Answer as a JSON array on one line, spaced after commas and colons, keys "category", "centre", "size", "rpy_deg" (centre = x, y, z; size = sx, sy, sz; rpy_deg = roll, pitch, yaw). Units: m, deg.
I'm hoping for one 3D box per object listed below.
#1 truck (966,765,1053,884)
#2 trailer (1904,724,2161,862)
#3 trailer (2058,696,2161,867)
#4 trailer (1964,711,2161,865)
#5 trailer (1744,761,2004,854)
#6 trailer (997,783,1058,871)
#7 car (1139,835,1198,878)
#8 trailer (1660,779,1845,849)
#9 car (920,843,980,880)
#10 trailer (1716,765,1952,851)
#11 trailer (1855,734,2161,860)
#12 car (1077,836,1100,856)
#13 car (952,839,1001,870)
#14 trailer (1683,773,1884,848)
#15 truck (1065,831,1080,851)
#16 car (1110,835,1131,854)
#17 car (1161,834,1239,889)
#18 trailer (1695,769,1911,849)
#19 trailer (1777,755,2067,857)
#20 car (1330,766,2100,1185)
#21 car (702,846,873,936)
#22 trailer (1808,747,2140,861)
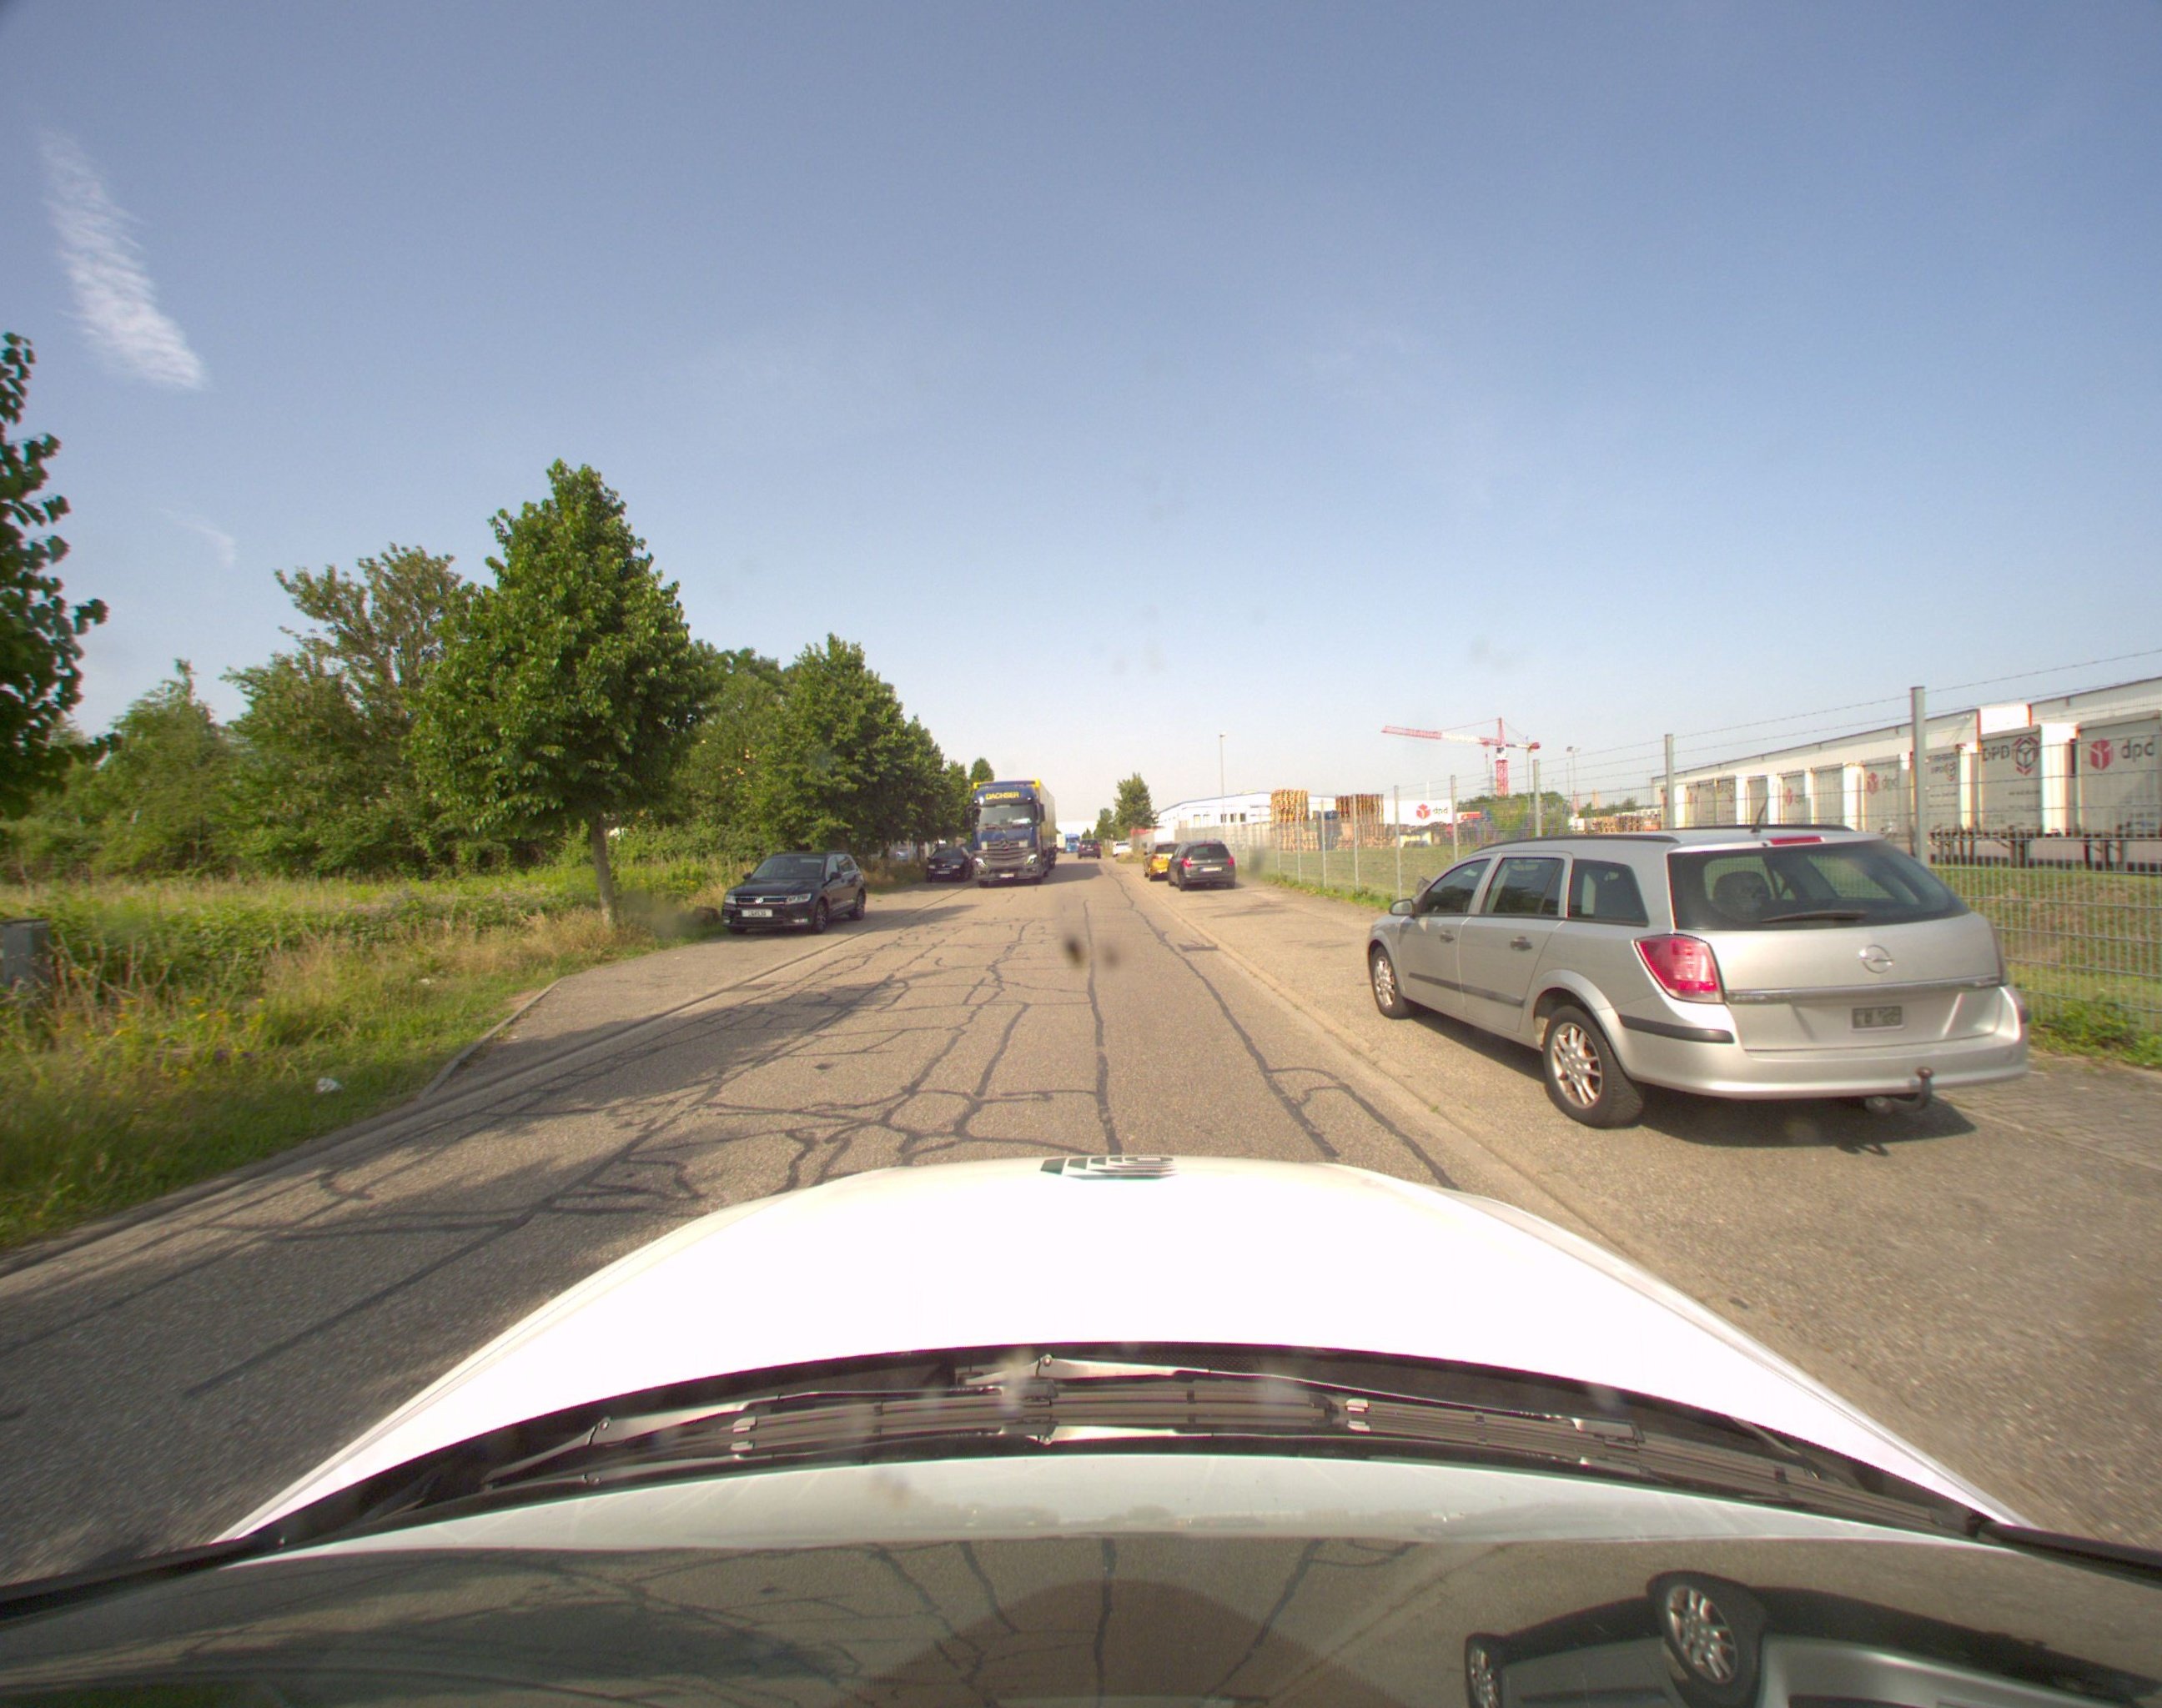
[{"category": "truck", "centre": [-2.753, -1.126, 34.532], "size": [2.490, 4.145, 10.378], "rpy_deg": [-3, 1, 0]}, {"category": "trailer", "centre": [30.512, -1.764, 24.325], "size": [7.898, 3.892, 2.790], "rpy_deg": [0, 2, 19]}, {"category": "trailer", "centre": [28.750, -1.659, 18.553], "size": [7.967, 3.892, 2.790], "rpy_deg": [0, 2, 19]}, {"category": "trailer", "centre": [29.440, -1.713, 21.485], "size": [7.898, 3.892, 2.790], "rpy_deg": [0, 2, 19]}, {"category": "trailer", "centre": [35.308, -2.038, 36.695], "size": [7.898, 3.892, 2.790], "rpy_deg": [0, 2, 19]}, {"category": "trailer", "centre": [-2.736, -1.381, 43.980], "size": [2.490, 4.145, 8.496], "rpy_deg": [-3, 1, 0]}, {"category": "car", "centre": [3.285, 0.070, 31.381], "size": [1.709, 1.455, 4.186], "rpy_deg": [-4, 1, 0]}, {"category": "trailer", "centre": [39.243, -2.333, 47.963], "size": [7.898, 3.892, 2.756], "rpy_deg": [0, 2, 19]}, {"category": "car", "centre": [-5.603, 0.292, 35.224], "size": [1.826, 1.496, 4.051], "rpy_deg": [0, 1, 1]}, {"category": "trailer", "centre": [36.142, -2.148, 39.499], "size": [7.898, 3.892, 2.790], "rpy_deg": [0, 2, 19]}, {"category": "trailer", "centre": [31.744, -1.841, 27.318], "size": [7.898, 3.892, 2.790], "rpy_deg": [0, 2, 19]}, {"category": "car", "centre": [0.672, -0.665, 68.683], "size": [1.874, 1.586, 4.114], "rpy_deg": [-2, 0, 1]}, {"category": "car", "centre": [-5.209, -0.009, 40.898], "size": [1.826, 1.496, 4.051], "rpy_deg": [0, 1, 1]}, {"category": "trailer", "centre": [38.481, -2.340, 44.987], "size": [7.898, 3.892, 2.756], "rpy_deg": [0, 2, 19]}, {"category": "truck", "centre": [-1.637, -2.483, 158.793], "size": [2.871, 3.760, 6.081], "rpy_deg": [-1, 1, -1]}, {"category": "car", "centre": [3.760, -0.929, 77.417], "size": [1.709, 1.680, 3.949], "rpy_deg": [-1, 1, -1]}, {"category": "car", "centre": [3.691, 0.193, 25.935], "size": [1.710, 1.515, 4.002], "rpy_deg": [-4, 1, -2]}, {"category": "trailer", "centre": [37.198, -2.261, 42.347], "size": [7.898, 3.892, 2.790], "rpy_deg": [0, 2, 19]}, {"category": "trailer", "centre": [34.282, -1.915, 33.648], "size": [7.898, 3.892, 2.790], "rpy_deg": [0, 2, 19]}, {"category": "car", "centre": [3.321, 0.470, 5.604], "size": [1.793, 1.626, 4.449], "rpy_deg": [-4, 1, 0]}, {"category": "car", "centre": [-5.966, 0.663, 17.229], "size": [1.896, 1.626, 4.451], "rpy_deg": [0, 1, 1]}, {"category": "trailer", "centre": [32.612, -1.782, 30.246], "size": [7.898, 3.892, 2.790], "rpy_deg": [0, 2, 19]}]
